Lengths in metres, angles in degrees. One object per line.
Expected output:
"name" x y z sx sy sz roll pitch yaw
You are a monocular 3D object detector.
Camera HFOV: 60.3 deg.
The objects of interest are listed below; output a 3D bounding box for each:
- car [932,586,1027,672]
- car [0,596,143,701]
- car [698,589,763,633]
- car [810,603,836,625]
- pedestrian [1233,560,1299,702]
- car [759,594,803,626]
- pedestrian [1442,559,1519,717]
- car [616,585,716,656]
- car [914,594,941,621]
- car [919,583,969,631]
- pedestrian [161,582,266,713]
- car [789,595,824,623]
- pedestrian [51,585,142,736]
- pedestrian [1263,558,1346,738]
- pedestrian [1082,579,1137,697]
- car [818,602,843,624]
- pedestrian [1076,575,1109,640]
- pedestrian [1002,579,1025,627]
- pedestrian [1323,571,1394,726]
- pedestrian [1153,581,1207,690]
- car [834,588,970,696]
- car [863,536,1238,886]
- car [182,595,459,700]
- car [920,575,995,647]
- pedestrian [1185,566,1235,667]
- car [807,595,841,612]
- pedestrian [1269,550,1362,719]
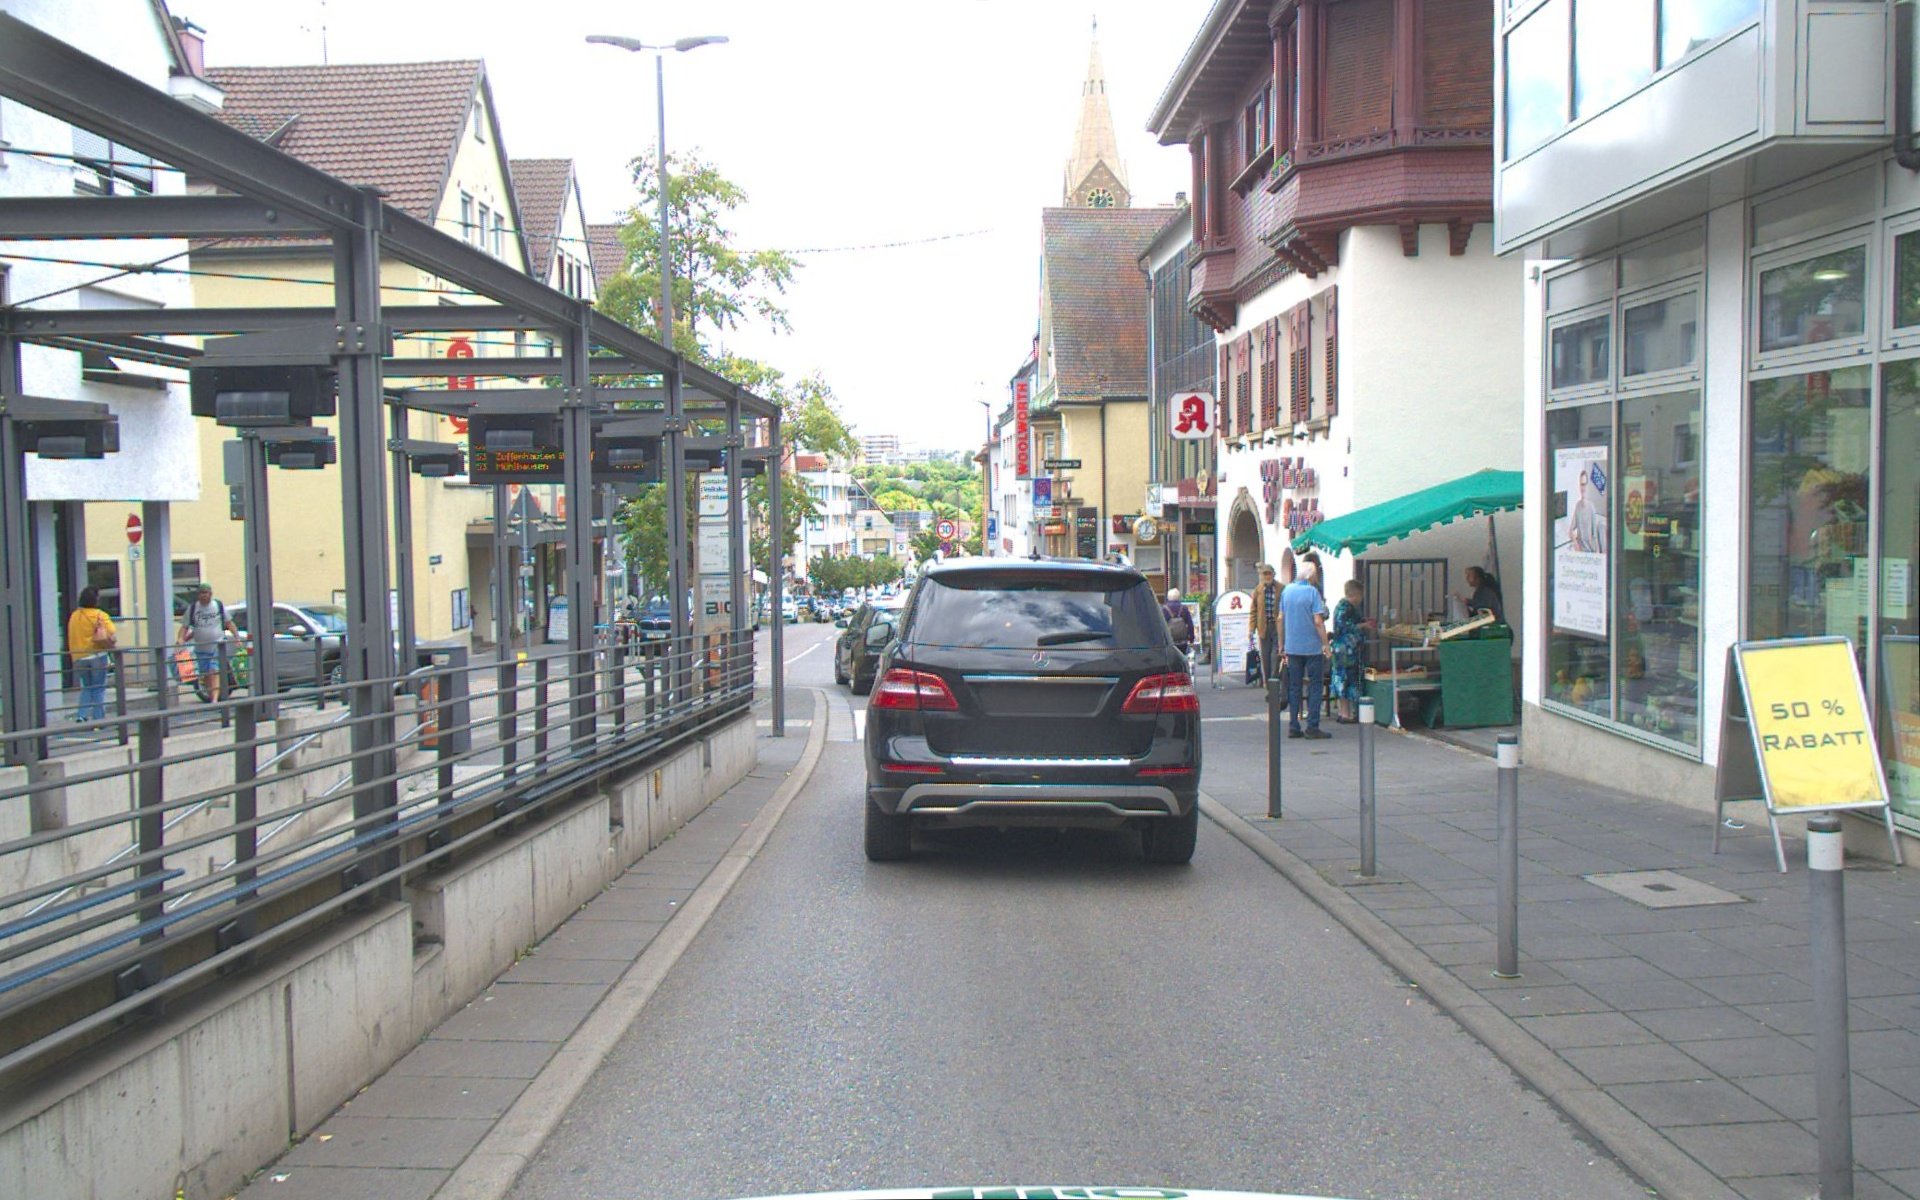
"car" 0.341 0.542 33.593 1.766 1.582 3.953 -1 0 -1
"car" -19.062 1.020 33.127 4.249 1.837 2.002 -4 3 3
"car" -8.418 0.359 61.062 1.888 1.518 4.840 1 0 -3
"car" -10.123 1.031 122.309 1.889 1.523 4.258 1 0 -4
"pedestrian" 4.050 0.405 21.938 0.769 1.833 0.676 -1 0 4
"car" -9.040 0.490 83.763 1.888 1.538 4.260 1 0 -3
"pedestrian" 5.565 0.399 17.701 0.610 1.641 0.703 -1 0 4
"car" -7.714 0.500 43.806 1.966 1.723 4.606 1 1 -2
"car" -2.528 0.545 128.593 1.899 1.924 4.705 -3 0 -2
"car" -0.582 0.248 60.593 1.713 1.636 3.799 -3 0 -1
"pedestrian" -10.658 0.667 23.639 0.897 1.819 0.988 -1 0 15
"car" -9.330 0.573 101.021 1.888 1.650 4.637 0 -1 -3
"pedestrian" -10.483 0.716 20.107 0.624 1.769 0.835 -2 0 -4
"pedestrian" 3.536 0.481 16.981 0.686 1.797 0.625 -1 0 24
"pedestrian" 2.179 0.545 24.188 0.756 1.674 0.870 -1 0 4
"car" -10.178 0.998 129.698 1.889 1.623 4.454 1 0 -5
"pedestrian" 3.601 0.194 44.924 0.845 1.737 0.945 -1 0 4
"pedestrian" 2.010 0.100 62.063 0.780 1.757 1.052 -2 0 -1
"pedestrian" 4.327 0.512 17.987 0.610 1.641 0.703 -1 0 4
"pedestrian" 3.204 0.505 24.125 0.709 1.558 0.808 -1 0 4
"car" -0.994 0.615 26.463 1.752 1.567 3.737 -1 0 -8
"car" 0.435 0.559 10.579 1.904 1.770 4.178 1 0 -1
"car" -11.034 0.874 28.594 4.252 1.650 1.969 -2 -4 22
"car" -0.020 0.269 44.694 1.838 1.831 4.733 -1 0 2
"pedestrian" 4.571 0.293 30.247 0.758 1.800 0.817 -1 0 0
"car" -16.228 0.446 197.275 3.910 1.780 1.998 -3 0 -6
"pedestrian" 4.081 0.379 18.990 0.766 1.889 0.699 -1 0 41
